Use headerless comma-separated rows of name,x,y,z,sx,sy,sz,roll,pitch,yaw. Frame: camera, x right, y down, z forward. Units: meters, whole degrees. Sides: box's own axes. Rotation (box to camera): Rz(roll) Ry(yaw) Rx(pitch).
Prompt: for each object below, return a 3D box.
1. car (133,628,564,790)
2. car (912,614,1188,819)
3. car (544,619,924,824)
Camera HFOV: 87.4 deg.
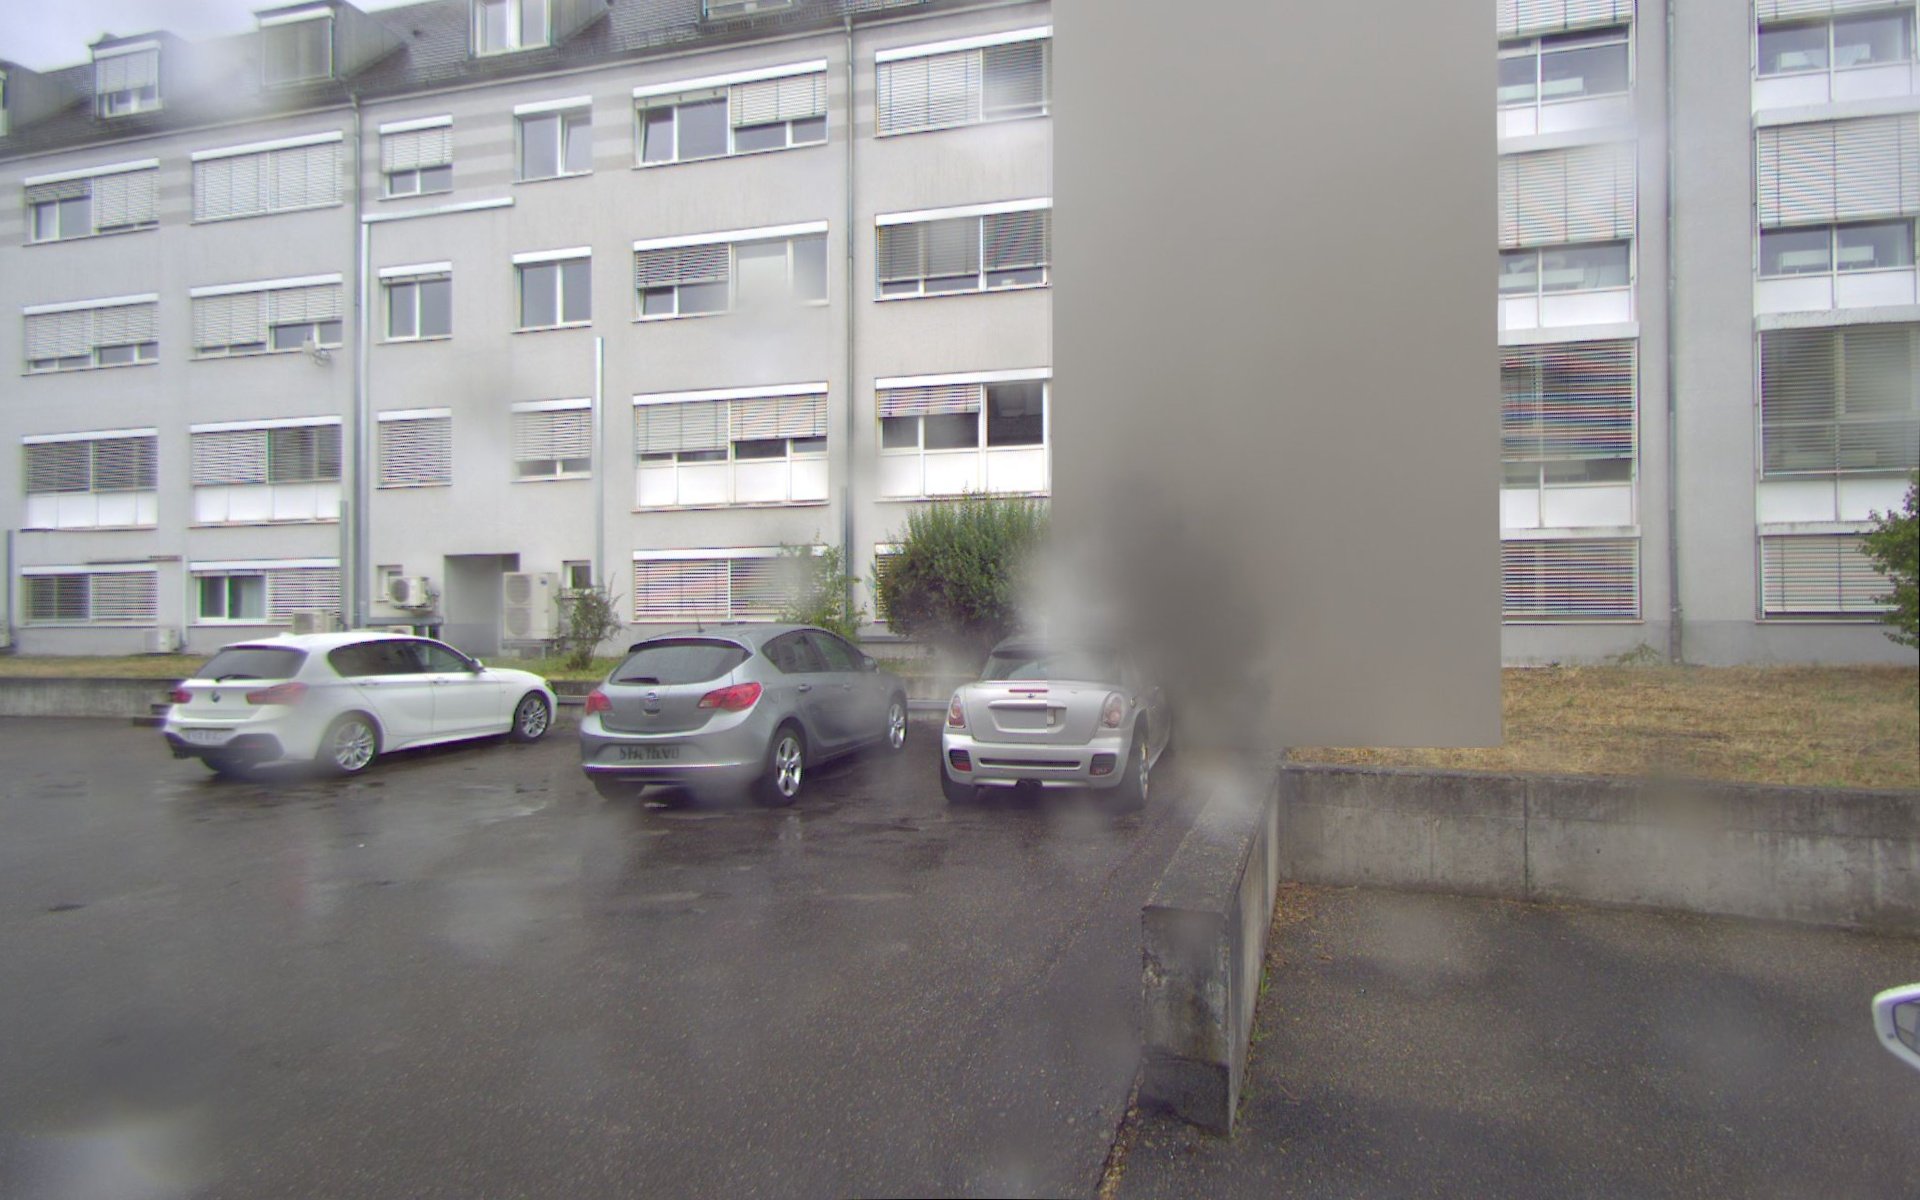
car,-6.610,1.063,11.483,1.718,1.452,4.155,0,-1,16
car,1.103,0.907,9.632,1.786,1.351,4.179,-1,1,17
car,-1.842,0.957,9.667,1.786,1.503,4.181,-1,-1,16
